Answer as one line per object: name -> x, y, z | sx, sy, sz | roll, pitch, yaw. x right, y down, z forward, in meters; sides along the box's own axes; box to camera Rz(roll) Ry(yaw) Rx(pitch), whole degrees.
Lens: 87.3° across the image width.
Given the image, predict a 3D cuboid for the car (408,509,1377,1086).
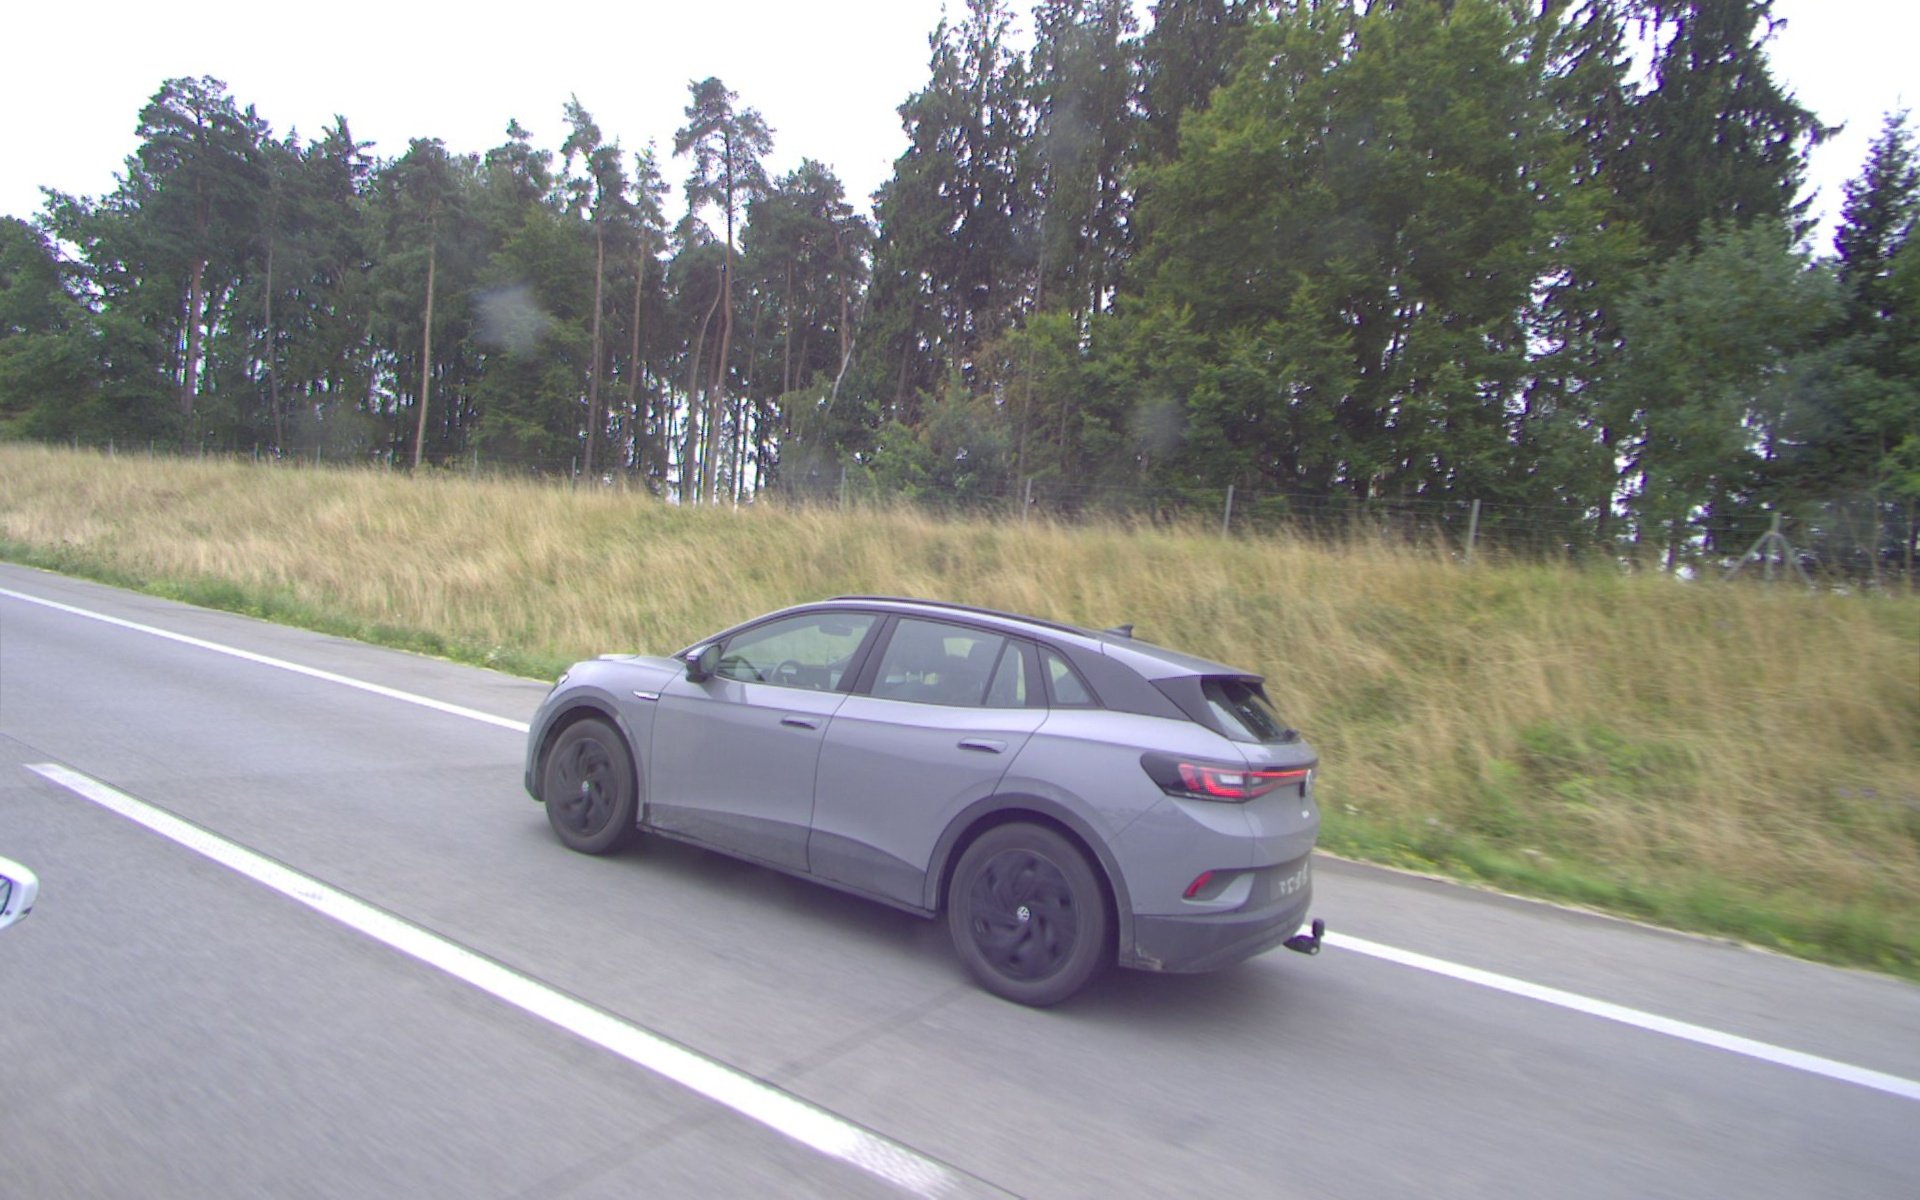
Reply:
car -> -0.625, 0.672, 5.722 | 5.177, 1.710, 1.902 | 8, -1, 31
